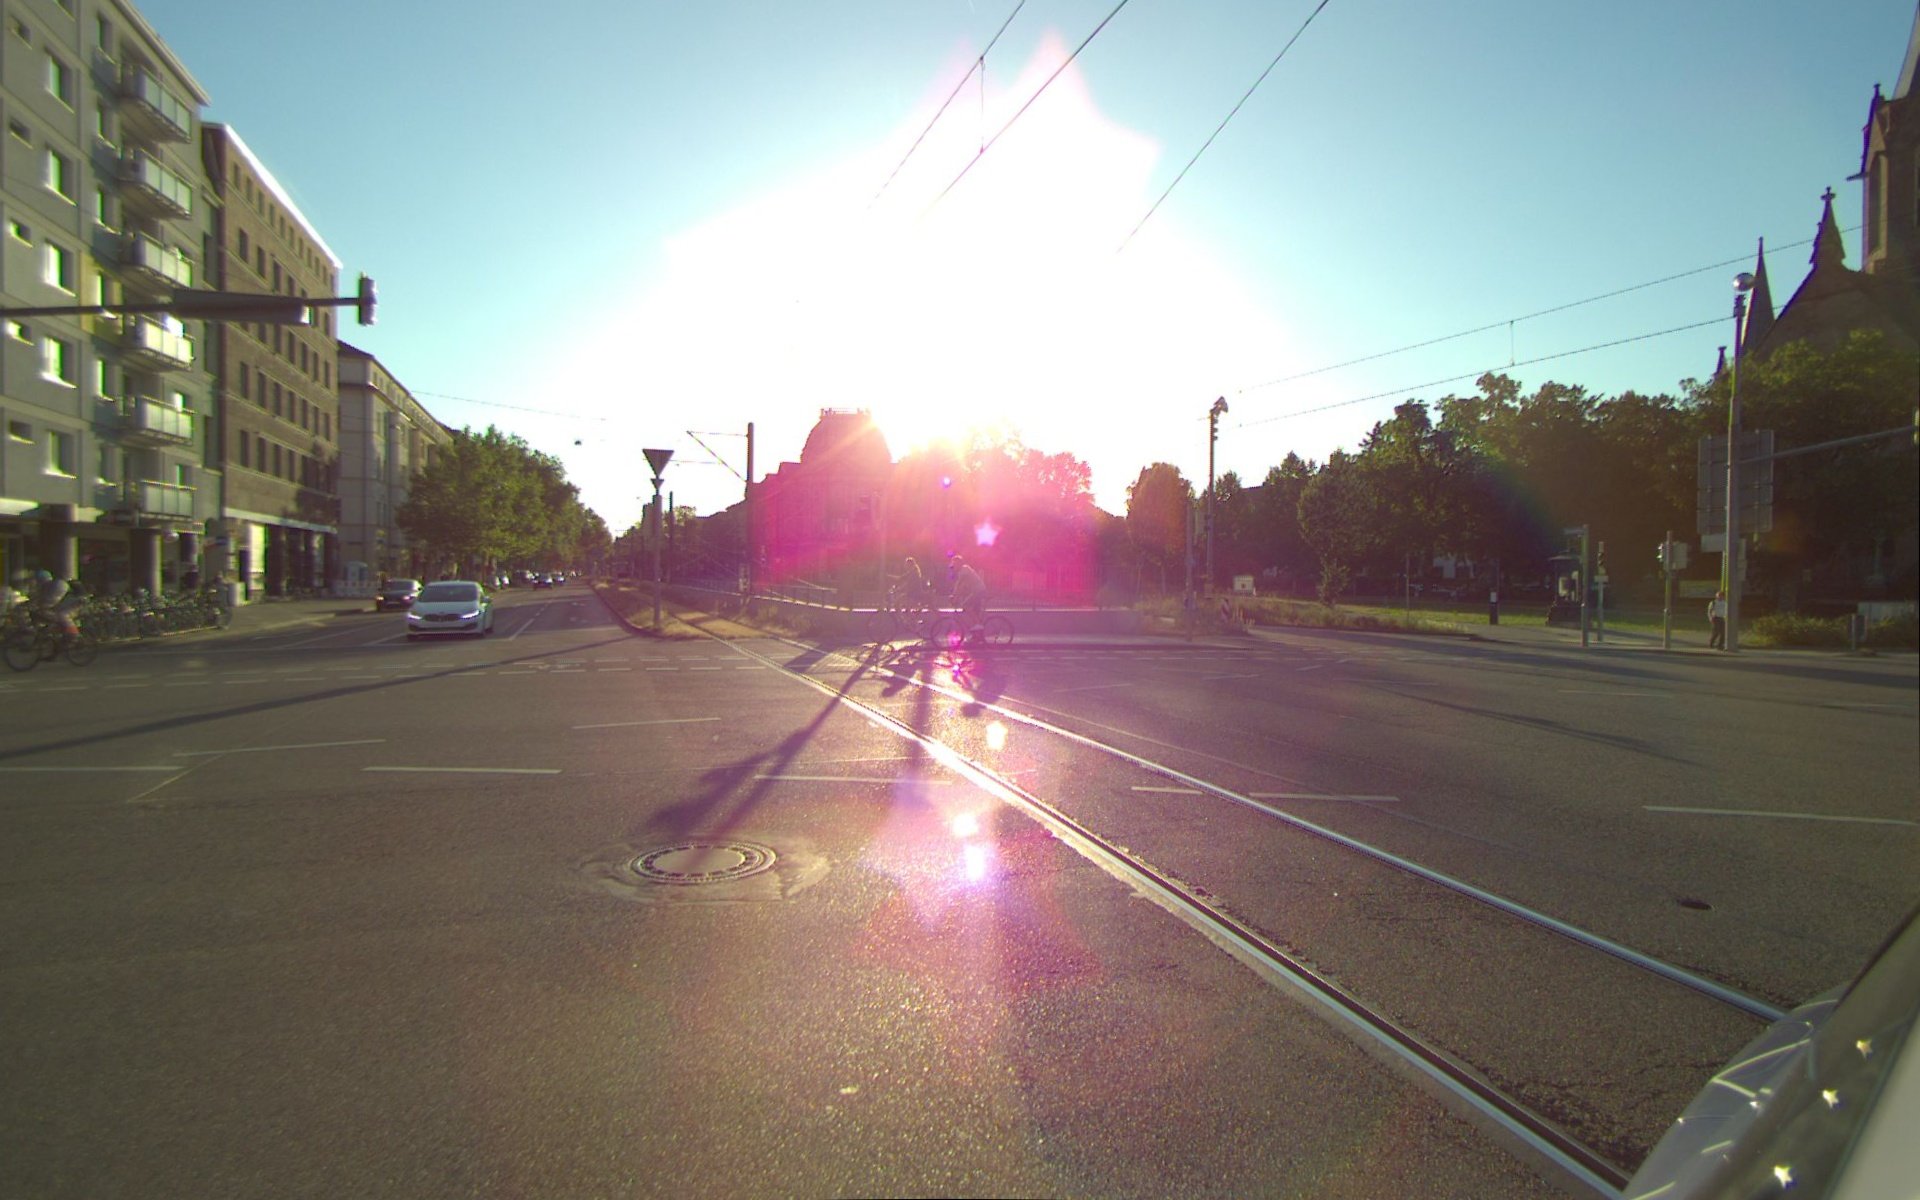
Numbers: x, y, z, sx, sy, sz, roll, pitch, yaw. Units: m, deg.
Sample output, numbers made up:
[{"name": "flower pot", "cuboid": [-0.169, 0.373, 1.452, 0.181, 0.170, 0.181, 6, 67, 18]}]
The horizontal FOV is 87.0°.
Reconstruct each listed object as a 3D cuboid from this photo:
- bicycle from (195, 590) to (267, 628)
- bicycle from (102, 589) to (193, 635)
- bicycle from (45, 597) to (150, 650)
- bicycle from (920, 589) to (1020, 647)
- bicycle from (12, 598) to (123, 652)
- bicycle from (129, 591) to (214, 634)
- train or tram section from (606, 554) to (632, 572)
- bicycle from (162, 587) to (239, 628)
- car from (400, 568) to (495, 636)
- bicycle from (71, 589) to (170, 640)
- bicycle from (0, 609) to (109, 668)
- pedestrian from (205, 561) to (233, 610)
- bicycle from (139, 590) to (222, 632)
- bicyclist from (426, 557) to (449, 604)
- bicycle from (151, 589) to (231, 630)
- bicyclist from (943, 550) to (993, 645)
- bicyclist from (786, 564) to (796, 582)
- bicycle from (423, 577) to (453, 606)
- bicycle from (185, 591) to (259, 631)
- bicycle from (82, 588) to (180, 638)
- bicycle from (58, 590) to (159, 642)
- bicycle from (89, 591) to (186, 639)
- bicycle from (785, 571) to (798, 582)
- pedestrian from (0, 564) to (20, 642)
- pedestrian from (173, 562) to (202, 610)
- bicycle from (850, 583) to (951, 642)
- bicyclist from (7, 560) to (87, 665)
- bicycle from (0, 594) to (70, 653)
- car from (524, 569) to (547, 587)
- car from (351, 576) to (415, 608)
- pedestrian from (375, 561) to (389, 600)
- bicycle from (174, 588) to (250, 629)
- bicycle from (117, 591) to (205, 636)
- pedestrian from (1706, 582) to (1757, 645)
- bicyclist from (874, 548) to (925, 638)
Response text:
[{"name": "bicycle", "cuboid": [-22.667, 0.269, 31.495, 1.660, 1.158, 0.698, 0, 1, -19]}, {"name": "bicycle", "cuboid": [-21.075, 0.304, 26.278, 1.744, 1.173, 0.607, 0, 1, -20]}, {"name": "bicycle", "cuboid": [-19.717, 0.527, 23.159, 1.725, 1.153, 0.601, 0, 1, -20]}, {"name": "bicycle", "cuboid": [0.205, 0.338, 20.006, 1.868, 1.089, 0.633, 0, 1, -25]}, {"name": "bicycle", "cuboid": [-19.785, 0.543, 22.469, 1.745, 1.156, 0.610, 0, 1, -20]}, {"name": "bicycle", "cuboid": [-21.401, 0.325, 27.504, 1.723, 1.131, 0.553, 0, 1, -20]}, {"name": "train or tram section", "cuboid": [-76.858, -8.221, 228.044, 4.309, 3.897, 11.432, 0, 2, -24]}, {"name": "bicycle", "cuboid": [-21.991, 0.213, 29.329, 1.660, 1.167, 0.707, 0, 1, -19]}, {"name": "car", "cuboid": [-13.194, -0.014, 26.249, 1.659, 1.638, 4.009, 0, 2, -19]}, {"name": "bicycle", "cuboid": [-20.213, 0.335, 24.390, 1.737, 1.196, 0.569, 0, 1, -21]}, {"name": "bicycle", "cuboid": [-15.638, 0.634, 17.355, 0.691, 0.893, 1.950, 0, 1, -9]}, {"name": "pedestrian", "cuboid": [-28.558, -0.553, 39.029, 0.773, 1.864, 0.735, 0, 1, -29]}, {"name": "bicycle", "cuboid": [-21.595, 0.302, 28.059, 1.729, 1.133, 0.569, 0, 1, -20]}, {"name": "bicyclist", "cuboid": [-22.973, -0.852, 44.526, 0.782, 2.039, 0.925, 0, 1, -19]}, {"name": "bicycle", "cuboid": [-21.763, 0.269, 28.671, 1.696, 1.138, 0.635, 0, 0, -19]}, {"name": "bicyclist", "cuboid": [0.146, -0.054, 19.976, 0.779, 1.840, 0.647, 0, 1, -24]}, {"name": "bicyclist", "cuboid": [-21.430, -3.451, 128.444, 1.063, 2.305, 0.988, 1, 1, -21]}, {"name": "bicycle", "cuboid": [-22.957, -0.401, 44.502, 0.798, 1.216, 2.418, 0, 2, -18]}, {"name": "bicycle", "cuboid": [-22.434, 0.330, 30.800, 1.660, 1.185, 0.750, 0, 1, -19]}, {"name": "bicycle", "cuboid": [-20.444, 0.318, 25.001, 1.757, 1.206, 0.653, 0, 1, -21]}, {"name": "bicycle", "cuboid": [-20.020, 0.376, 23.834, 1.734, 1.182, 0.541, 0, 1, -20]}, {"name": "bicycle", "cuboid": [-20.818, 0.363, 25.644, 1.798, 1.175, 0.641, 0, 1, -20]}, {"name": "bicycle", "cuboid": [-21.354, -2.996, 128.271, 1.078, 1.416, 2.838, 0, 1, -21]}, {"name": "pedestrian", "cuboid": [-21.226, 0.065, 22.259, 0.570, 1.705, 0.547, 0, 1, 1]}, {"name": "pedestrian", "cuboid": [-29.512, -0.536, 38.671, 0.813, 1.835, 0.721, 0, 1, -31]}, {"name": "bicycle", "cuboid": [-1.244, 0.246, 21.422, 2.130, 1.096, 0.539, -3, 3, -34]}, {"name": "bicyclist", "cuboid": [-15.620, 0.205, 17.335, 0.689, 1.764, 0.793, 1, 1, -9]}, {"name": "bicycle", "cuboid": [-20.175, 0.499, 21.519, 1.762, 1.223, 0.639, 0, 1, -21]}, {"name": "car", "cuboid": [-42.842, -2.285, 102.223, 1.851, 1.764, 4.340, 0, 2, -19]}, {"name": "car", "cuboid": [-27.213, -0.406, 47.873, 1.787, 1.437, 4.009, 0, 2, -17]}, {"name": "pedestrian", "cuboid": [-33.155, -1.127, 58.042, 0.591, 2.205, 0.794, 0, 1, -21]}, {"name": "bicycle", "cuboid": [-22.199, 0.245, 30.058, 1.660, 1.193, 0.750, 0, 1, -19]}, {"name": "bicycle", "cuboid": [-21.236, 0.346, 26.921, 1.739, 1.150, 0.607, 0, 1, -20]}, {"name": "pedestrian", "cuboid": [22.698, 0.393, 29.799, 0.819, 1.825, 0.812, 0, 1, -5]}, {"name": "bicyclist", "cuboid": [-1.279, -0.160, 21.390, 0.862, 1.840, 0.538, -3, 3, -34]}]
